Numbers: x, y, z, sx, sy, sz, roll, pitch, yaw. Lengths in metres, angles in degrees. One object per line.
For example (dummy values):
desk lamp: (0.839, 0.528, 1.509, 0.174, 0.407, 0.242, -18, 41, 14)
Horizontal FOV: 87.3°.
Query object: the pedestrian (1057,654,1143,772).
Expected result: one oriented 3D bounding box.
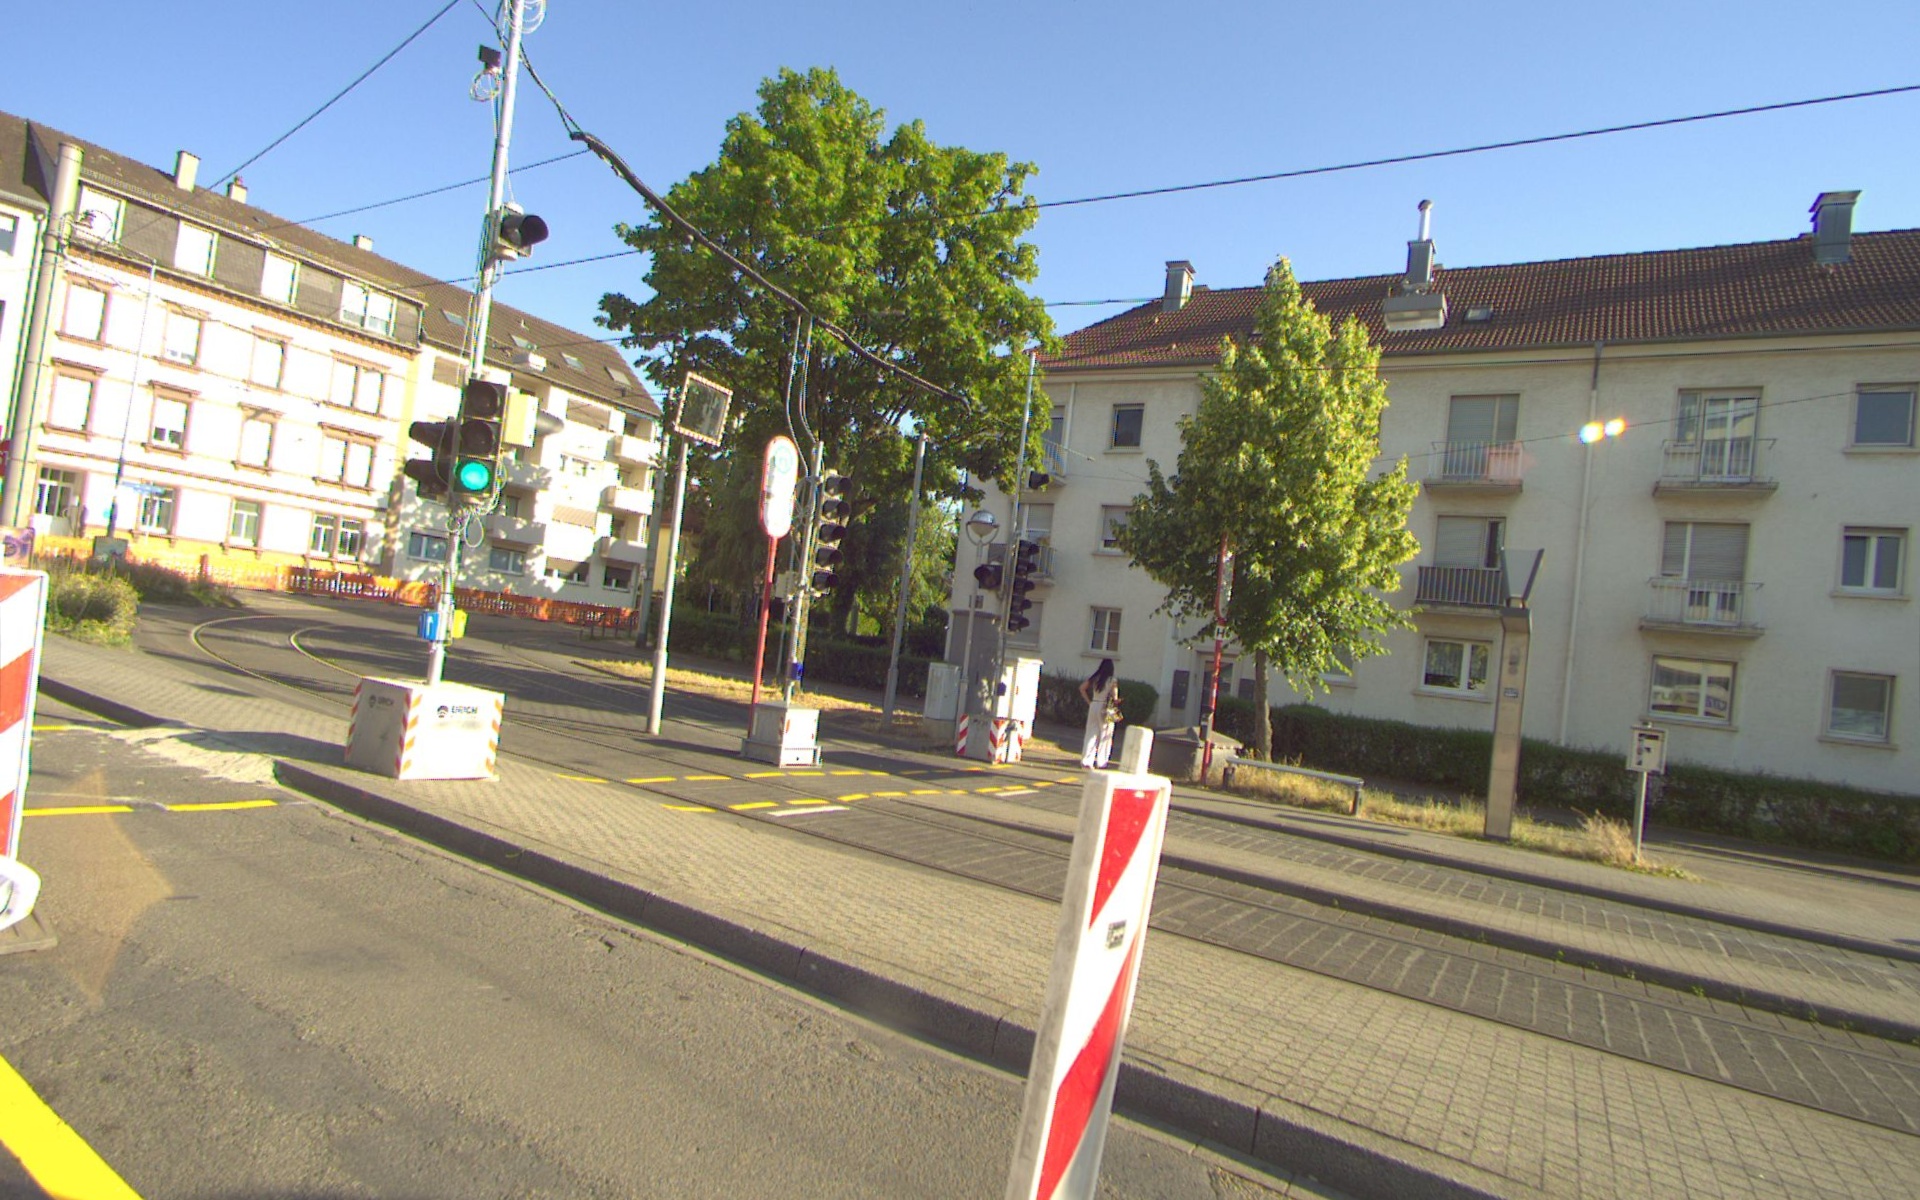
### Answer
pedestrian: (2.112, 1.705, 15.182, 0.816, 1.639, 0.787, 5, -2, 44)
